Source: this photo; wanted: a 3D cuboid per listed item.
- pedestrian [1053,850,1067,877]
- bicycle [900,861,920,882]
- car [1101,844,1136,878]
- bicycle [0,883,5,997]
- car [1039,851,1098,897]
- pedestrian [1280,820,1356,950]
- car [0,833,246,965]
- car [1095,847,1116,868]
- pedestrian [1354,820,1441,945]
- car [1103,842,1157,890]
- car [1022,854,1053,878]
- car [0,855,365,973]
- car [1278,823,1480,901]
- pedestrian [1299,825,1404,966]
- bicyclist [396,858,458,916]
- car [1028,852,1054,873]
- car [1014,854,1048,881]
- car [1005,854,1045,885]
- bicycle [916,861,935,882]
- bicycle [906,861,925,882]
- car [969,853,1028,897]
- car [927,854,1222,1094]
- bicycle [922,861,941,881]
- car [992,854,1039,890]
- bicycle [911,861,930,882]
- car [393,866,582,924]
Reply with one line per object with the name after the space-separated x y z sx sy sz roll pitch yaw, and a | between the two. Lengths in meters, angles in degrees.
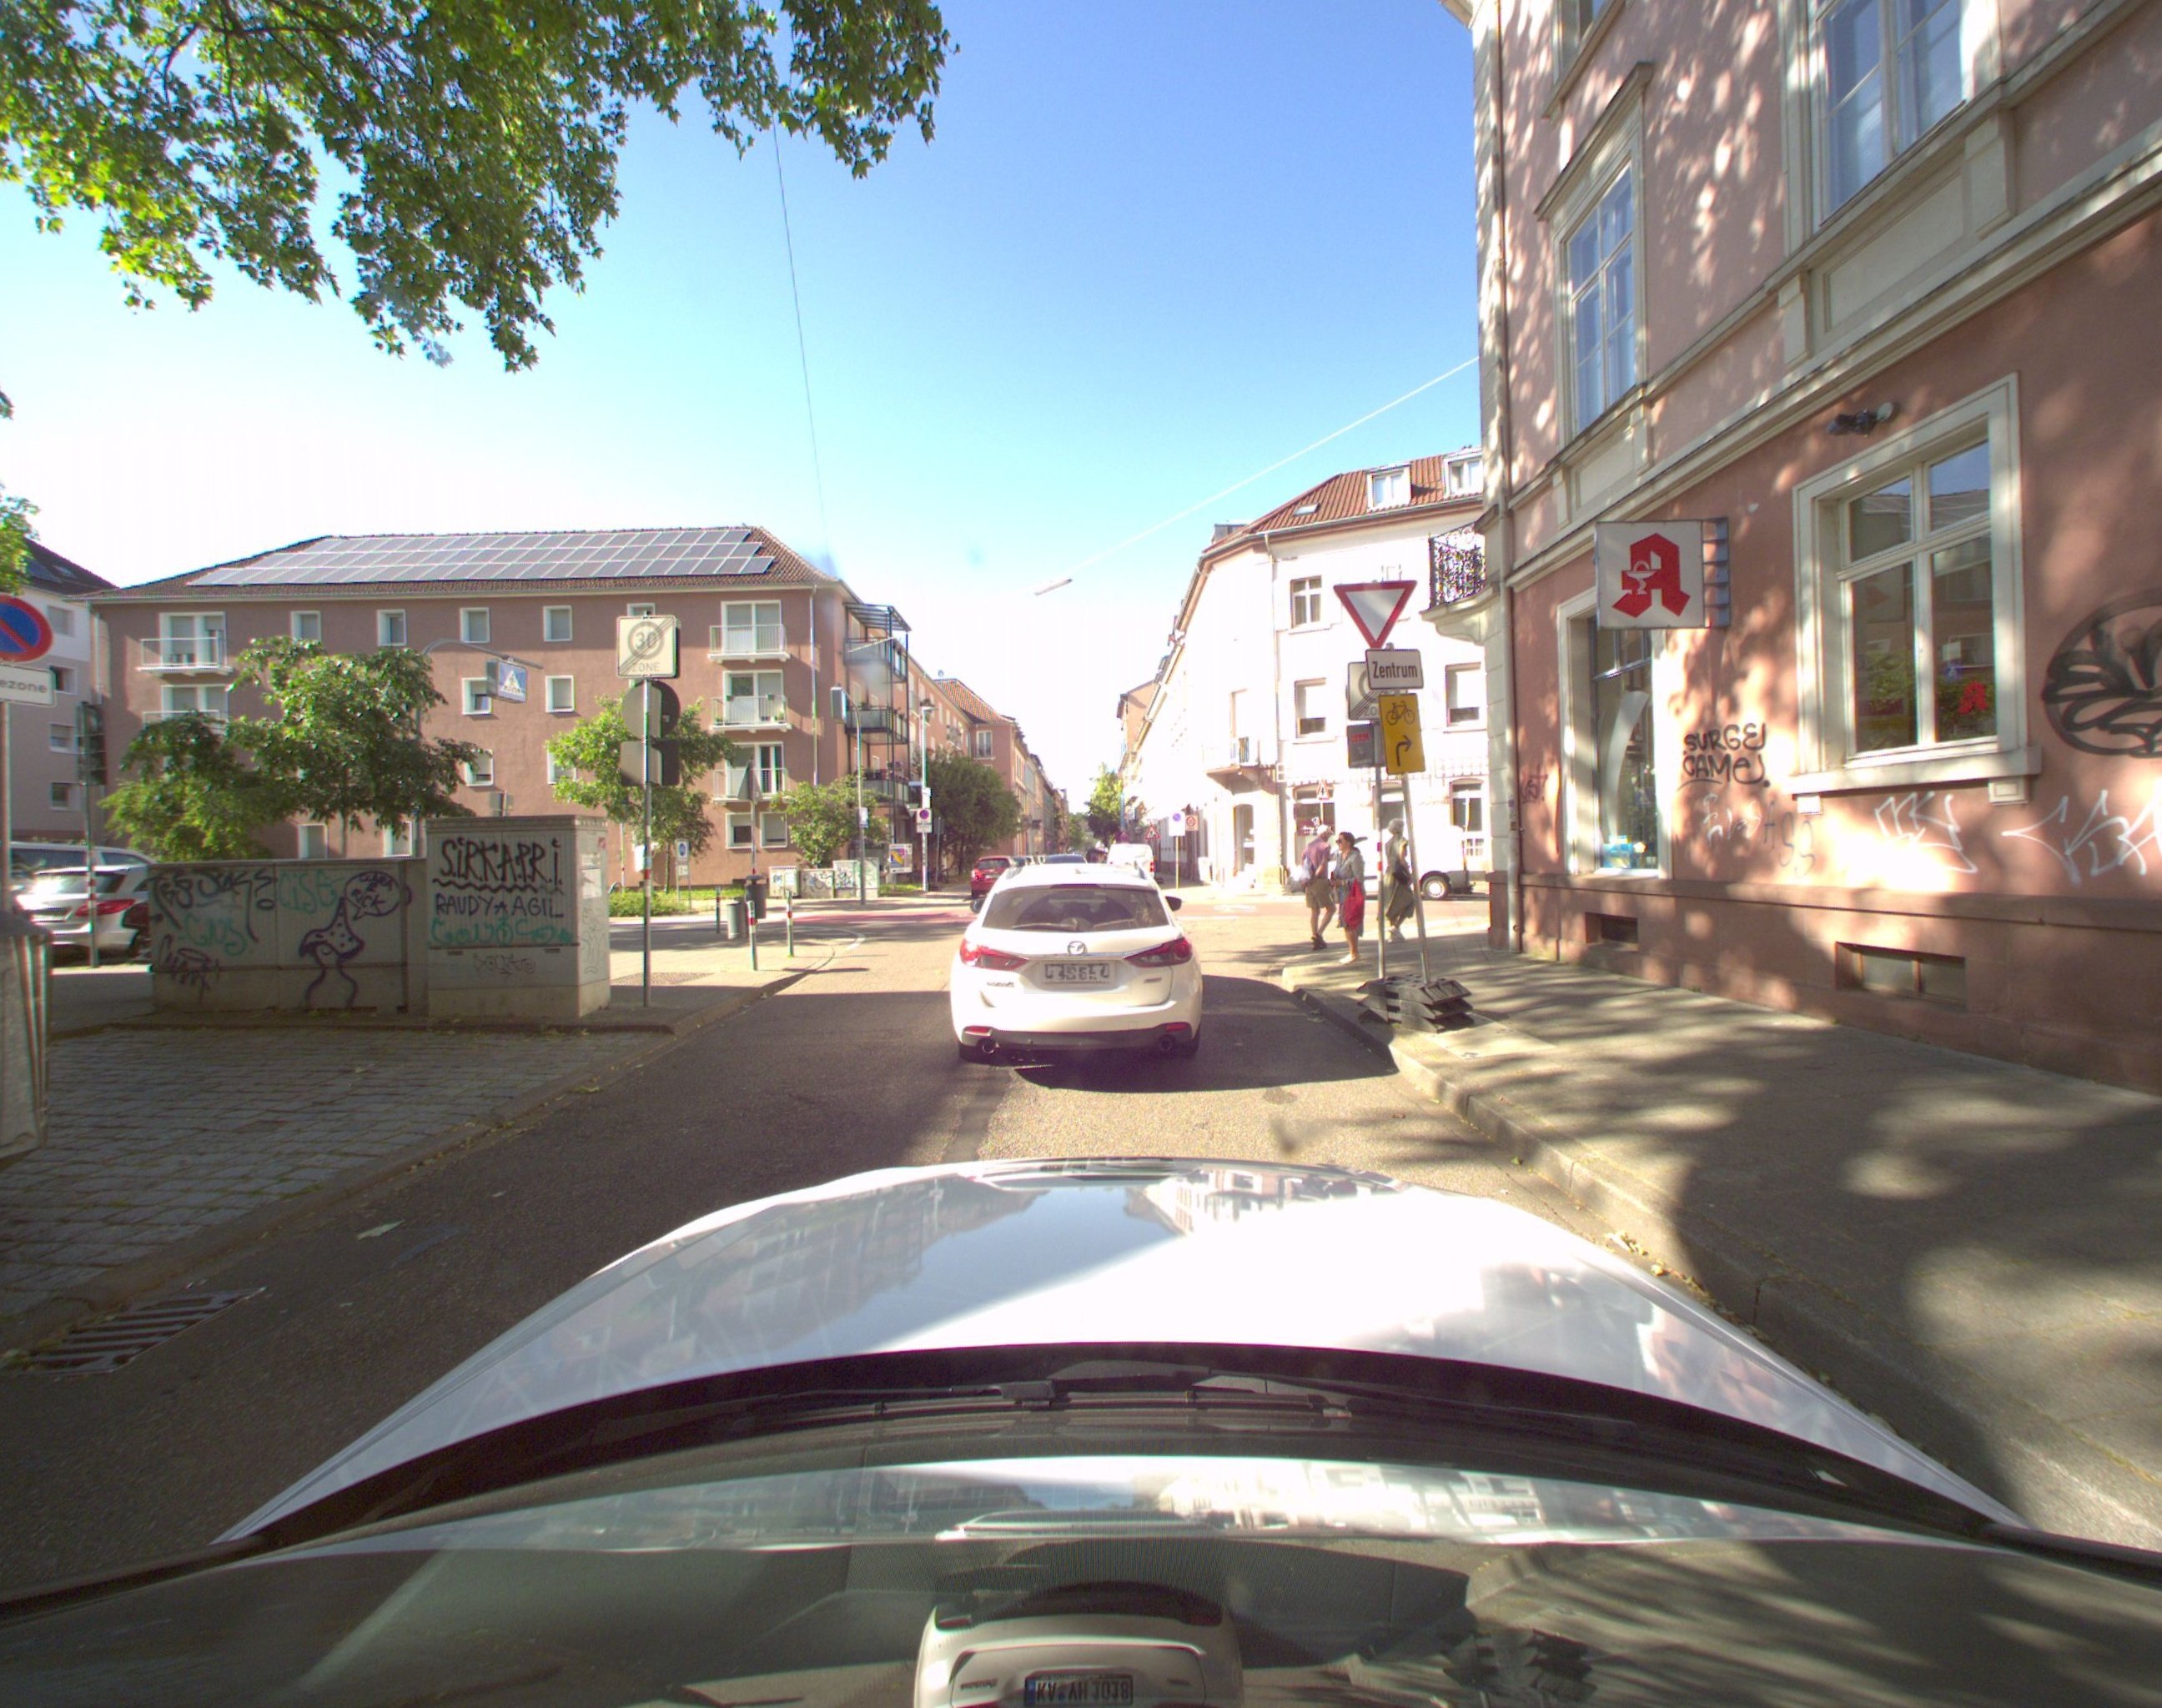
-1.304 0.577 50.489 0.733 1.614 0.813 -2 0 -11 | pedestrian
-8.764 0.897 41.631 1.201 1.035 0.293 -2 0 40 | bicycle
2.139 0.380 47.039 1.887 1.859 3.996 -1 0 2 | car
-11.053 0.869 7.337 0.805 1.153 1.707 0 0 -19 | bicycle
-0.346 0.634 27.720 1.754 1.410 4.329 -1 0 2 | car
3.412 0.436 11.801 0.747 1.764 0.831 -5 0 1 | pedestrian
-17.386 0.745 13.636 1.947 2.006 4.742 -2 -1 -1 | car
2.271 0.334 75.549 1.887 1.859 3.996 -1 0 2 | car
4.511 0.401 11.652 0.833 1.667 0.626 -6 -3 1 | pedestrian
1.979 0.470 34.381 1.889 1.859 5.012 1 0 -1 | car
-2.791 0.750 52.792 1.647 1.500 3.764 -1 0 2 | car
-14.873 0.860 13.728 1.747 1.612 4.303 -2 0 0 | car
8.151 0.242 22.425 4.964 1.946 2.062 -1 0 23 | car
3.287 0.493 9.986 0.841 1.573 0.846 -7 -1 1 | pedestrian
-17.684 0.874 22.046 1.038 1.519 0.739 -2 0 1 | bicyclist
-3.084 0.616 62.918 1.647 1.500 3.764 -1 0 2 | car
-2.959 0.751 48.586 1.647 1.500 3.764 -1 0 2 | car
-2.871 0.774 42.092 1.647 1.500 3.764 -1 0 2 | car
-8.098 0.904 42.394 1.201 1.071 0.255 -2 0 40 | bicycle
-8.514 0.894 41.922 1.201 1.072 0.268 -2 0 40 | bicycle
-3.058 0.755 30.806 1.678 1.500 3.808 -2 0 2 | car
0.017 0.761 7.134 1.824 1.457 3.964 -2 0 2 | car
-7.808 0.887 42.543 1.204 1.071 0.255 -2 0 40 | bicycle
-2.890 0.779 36.823 1.647 1.500 4.081 -1 0 2 | car
-8.299 0.914 42.162 1.201 1.071 0.255 -2 0 40 | bicycle
-17.046 1.145 23.523 4.128 1.454 1.746 -2 0 0 | car
